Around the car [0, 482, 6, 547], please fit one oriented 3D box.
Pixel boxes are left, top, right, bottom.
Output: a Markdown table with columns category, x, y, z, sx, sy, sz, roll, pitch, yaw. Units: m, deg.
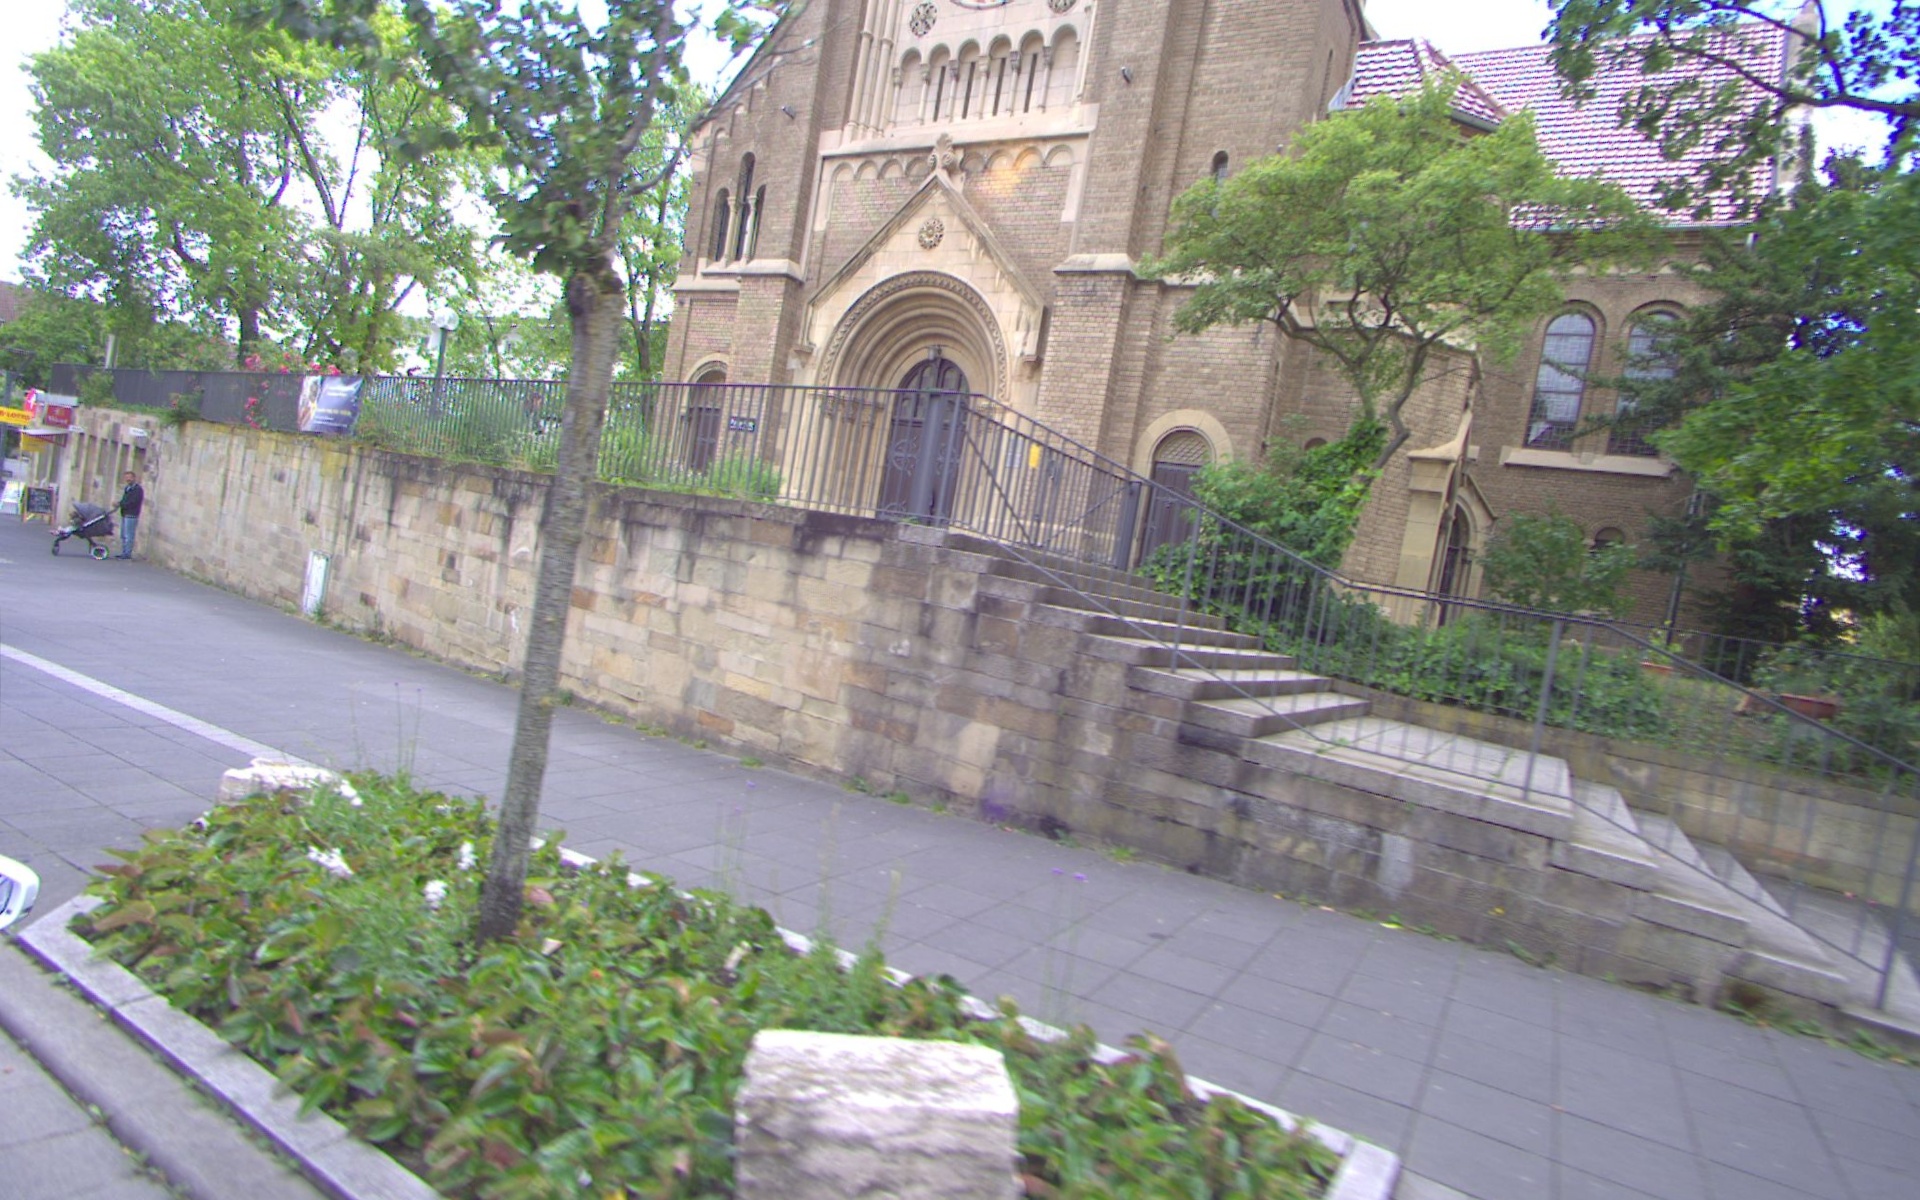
| category | x | y | z | sx | sy | sz | roll | pitch | yaw |
| --- | --- | --- | --- | --- | --- | --- | --- | --- | --- |
| car | -10.673 | -0.567 | 9.183 | 4.020 | 1.459 | 1.756 | 7 | 1 | 31 |

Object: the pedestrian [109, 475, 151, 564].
| category | x | y | z | sx | sy | sz | roll | pitch | yaw |
| --- | --- | --- | --- | --- | --- | --- | --- | --- | --- |
| pedestrian | -16.187 | -1.571 | 19.625 | 0.500 | 1.667 | 0.471 | 8 | 2 | 44 |

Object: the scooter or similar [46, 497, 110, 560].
| category | x | y | z | sx | sy | sz | roll | pitch | yaw |
| --- | --- | --- | --- | --- | --- | --- | --- | --- | --- |
| scooter or similar | -16.804 | -1.359 | 19.175 | 0.553 | 1.086 | 0.810 | 8 | 1 | 44 |
